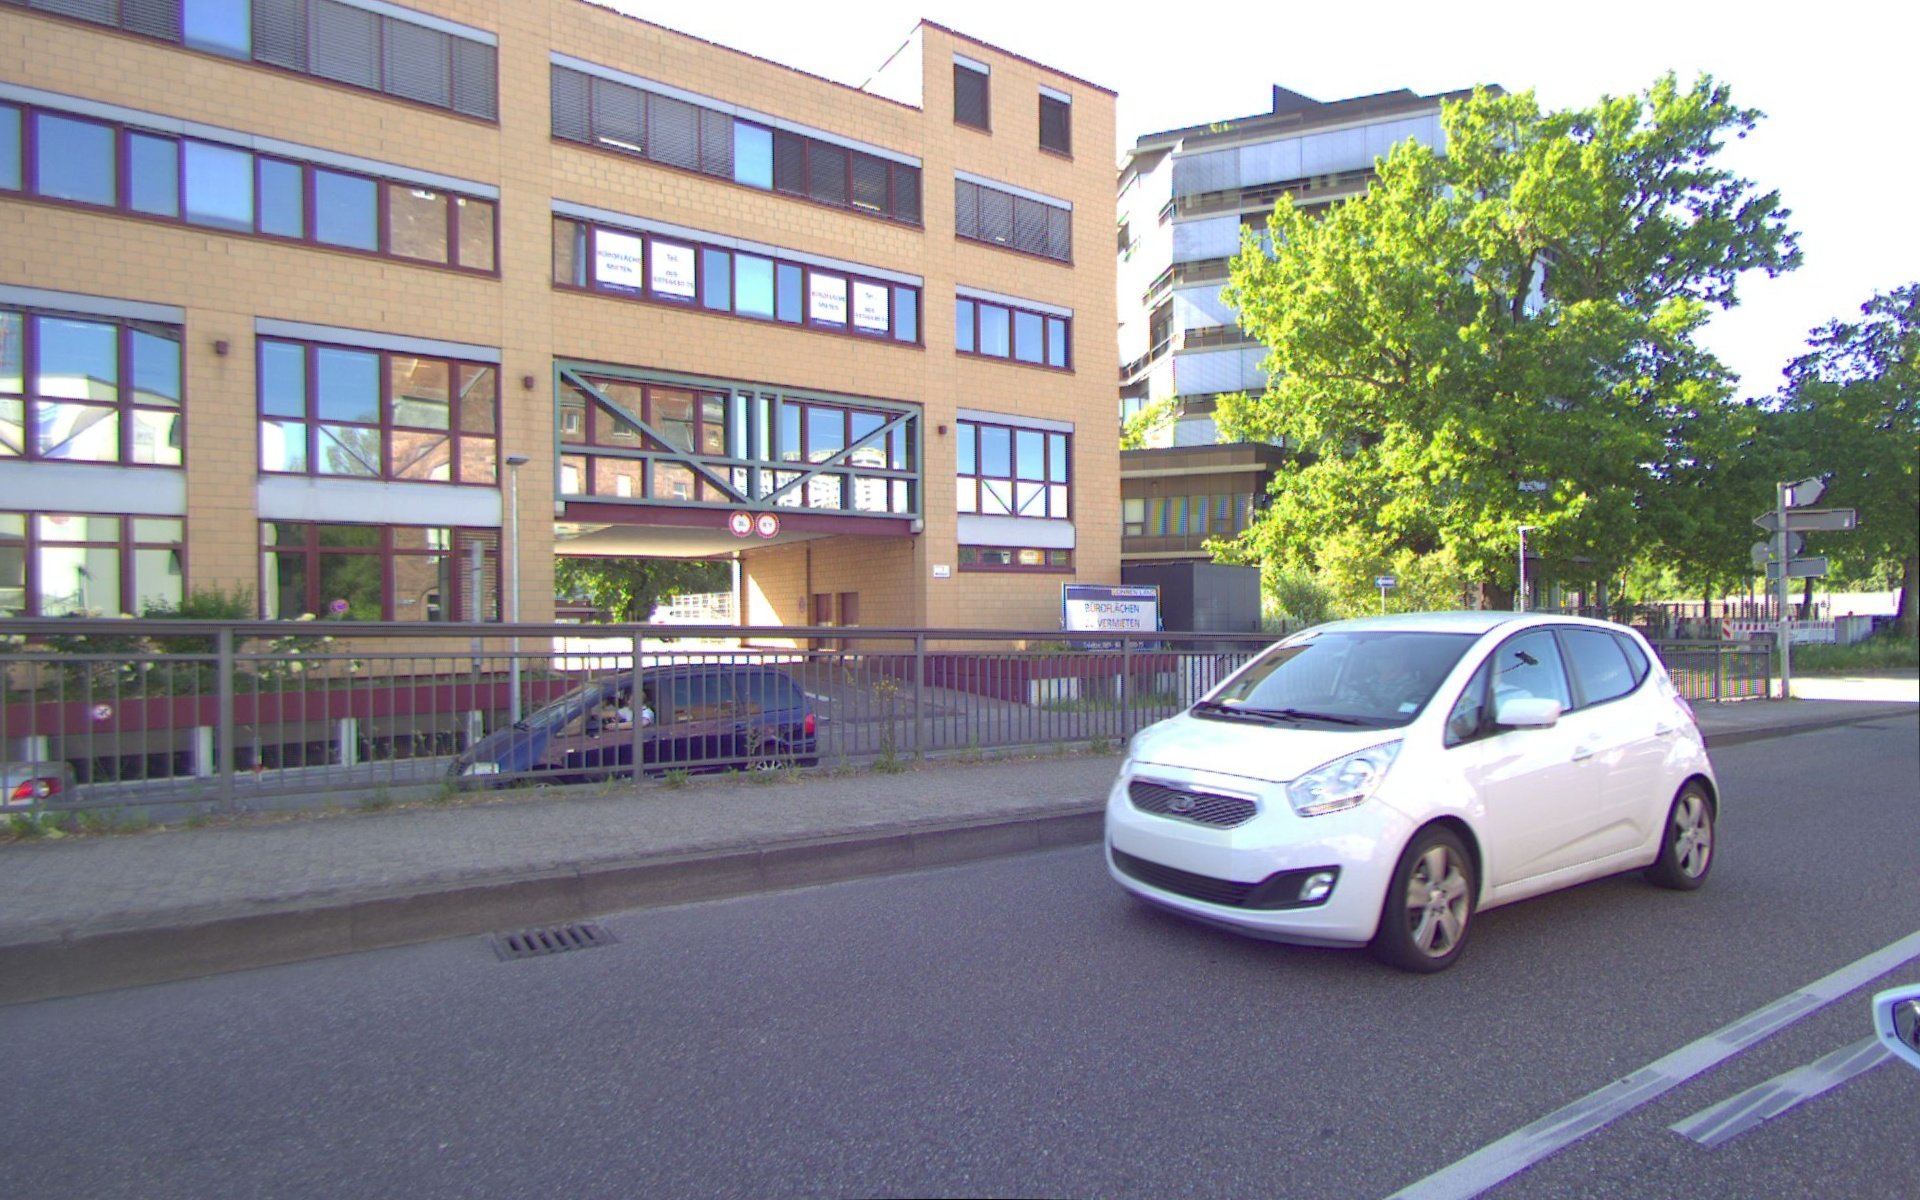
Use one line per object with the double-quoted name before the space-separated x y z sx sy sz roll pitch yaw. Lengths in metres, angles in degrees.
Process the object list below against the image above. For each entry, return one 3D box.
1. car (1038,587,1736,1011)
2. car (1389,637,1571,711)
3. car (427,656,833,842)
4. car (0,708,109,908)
"car" 2.556 0.814 5.726 3.958 1.625 1.809 1 -1 -34
"car" 12.489 1.697 24.062 4.399 1.523 1.811 0 -1 -31
"car" -4.136 1.720 12.935 4.641 1.781 1.938 0 0 -35
"car" -10.385 1.935 8.761 4.311 1.625 1.809 0 -1 -34
